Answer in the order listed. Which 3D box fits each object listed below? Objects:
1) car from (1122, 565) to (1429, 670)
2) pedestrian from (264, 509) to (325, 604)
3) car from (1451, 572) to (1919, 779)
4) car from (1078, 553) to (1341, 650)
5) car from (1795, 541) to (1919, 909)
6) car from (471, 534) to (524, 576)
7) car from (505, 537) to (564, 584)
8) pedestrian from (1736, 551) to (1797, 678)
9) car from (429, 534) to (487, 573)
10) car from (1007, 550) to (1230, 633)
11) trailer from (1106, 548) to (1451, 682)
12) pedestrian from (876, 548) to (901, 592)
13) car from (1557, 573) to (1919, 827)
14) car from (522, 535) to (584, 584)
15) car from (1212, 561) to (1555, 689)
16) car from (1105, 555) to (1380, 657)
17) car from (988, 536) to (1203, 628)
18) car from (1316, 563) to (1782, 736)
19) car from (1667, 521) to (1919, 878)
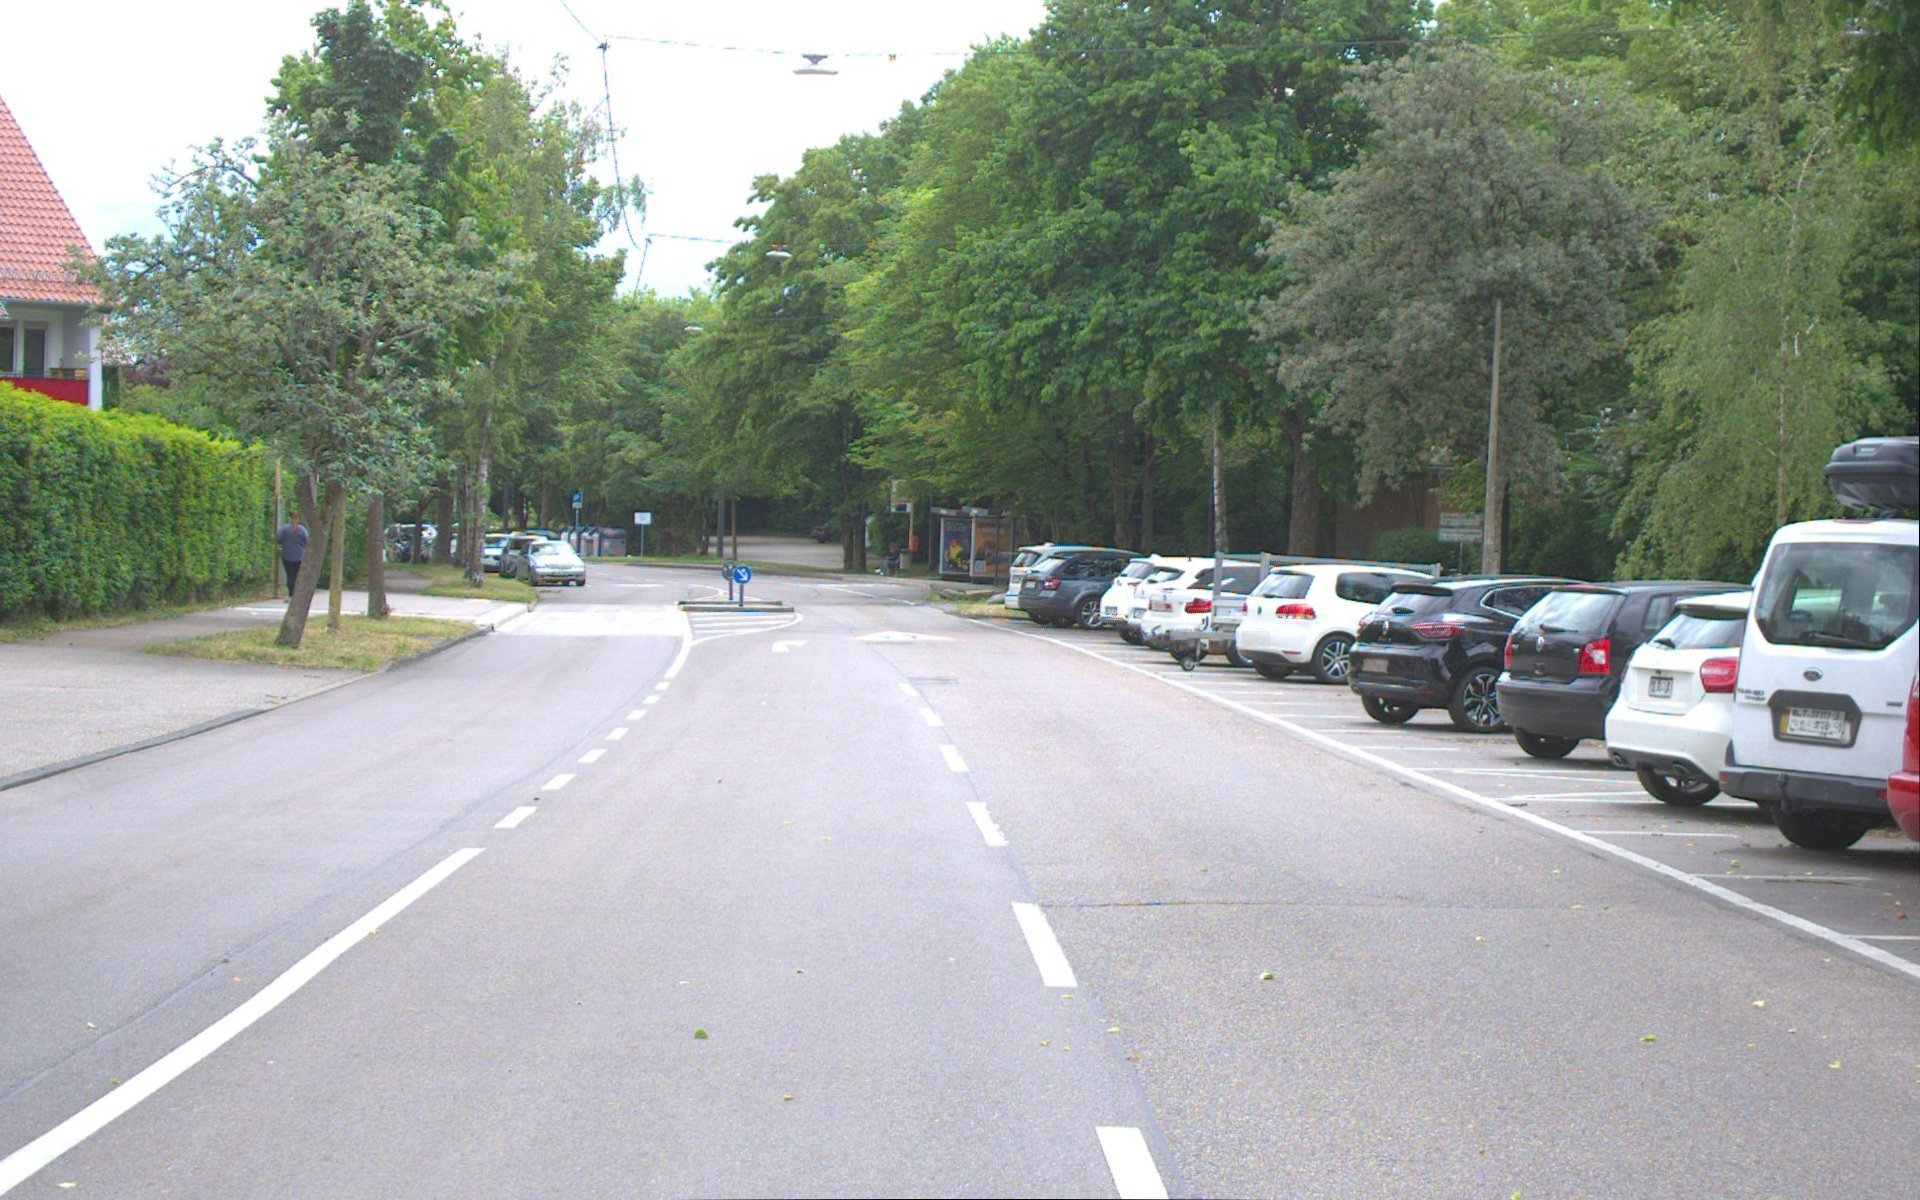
[{"bbox_3d":[4.427,0.245,48.244,3.883,1.305,1.744,2,1,-25],"label":"car"},{"bbox_3d":[-12.388,-0.812,64.018,0.974,1.724,0.849,1,1,-4],"label":"pedestrian"},{"bbox_3d":[6.090,0.604,27.252,3.883,1.444,1.845,3,1,-20],"label":"car"},{"bbox_3d":[4.104,0.026,56.602,3.883,1.424,1.744,2,1,-20],"label":"car"},{"bbox_3d":[6.167,0.646,15.902,3.995,1.614,1.885,3,1,-16],"label":"car"},{"bbox_3d":[-16.915,-1.667,125.811,1.866,1.466,4.001,1,1,-8],"label":"car"},{"bbox_3d":[-14.138,-1.331,113.997,1.866,1.466,4.001,1,1,-8],"label":"car"},{"bbox_3d":[10.717,0.189,45.686,0.649,1.665,0.743,1,1,5],"label":"pedestrian"},{"bbox_3d":[-19.967,-1.865,136.633,1.866,1.466,4.001,1,1,-14],"label":"car"},{"bbox_3d":[3.066,-0.167,66.592,3.883,1.424,1.744,2,1,-20],"label":"car"},{"bbox_3d":[4.210,0.199,45.553,4.153,1.568,1.712,3,0,-20],"label":"trailer"},{"bbox_3d":[-2.589,-1.084,124.199,0.741,1.564,0.651,1,1,10],"label":"pedestrian"},{"bbox_3d":[6.079,0.657,21.921,3.965,1.444,1.919,3,1,-16],"label":"car"},{"bbox_3d":[-12.859,-1.294,108.444,1.866,1.466,4.001,1,1,-8],"label":"car"},{"bbox_3d":[5.343,0.313,43.387,3.883,1.444,1.744,2,1,-22],"label":"car"},{"bbox_3d":[4.435,0.090,54.029,3.883,1.424,1.744,2,1,-20],"label":"car"},{"bbox_3d":[2.728,-0.366,69.376,3.883,1.662,1.744,2,1,-20],"label":"car"},{"bbox_3d":[5.522,0.464,32.248,3.883,1.444,1.845,2,1,-24],"label":"car"},{"bbox_3d":[6.108,0.554,18.812,4.085,1.748,1.787,2,1,-27],"label":"car"}]
